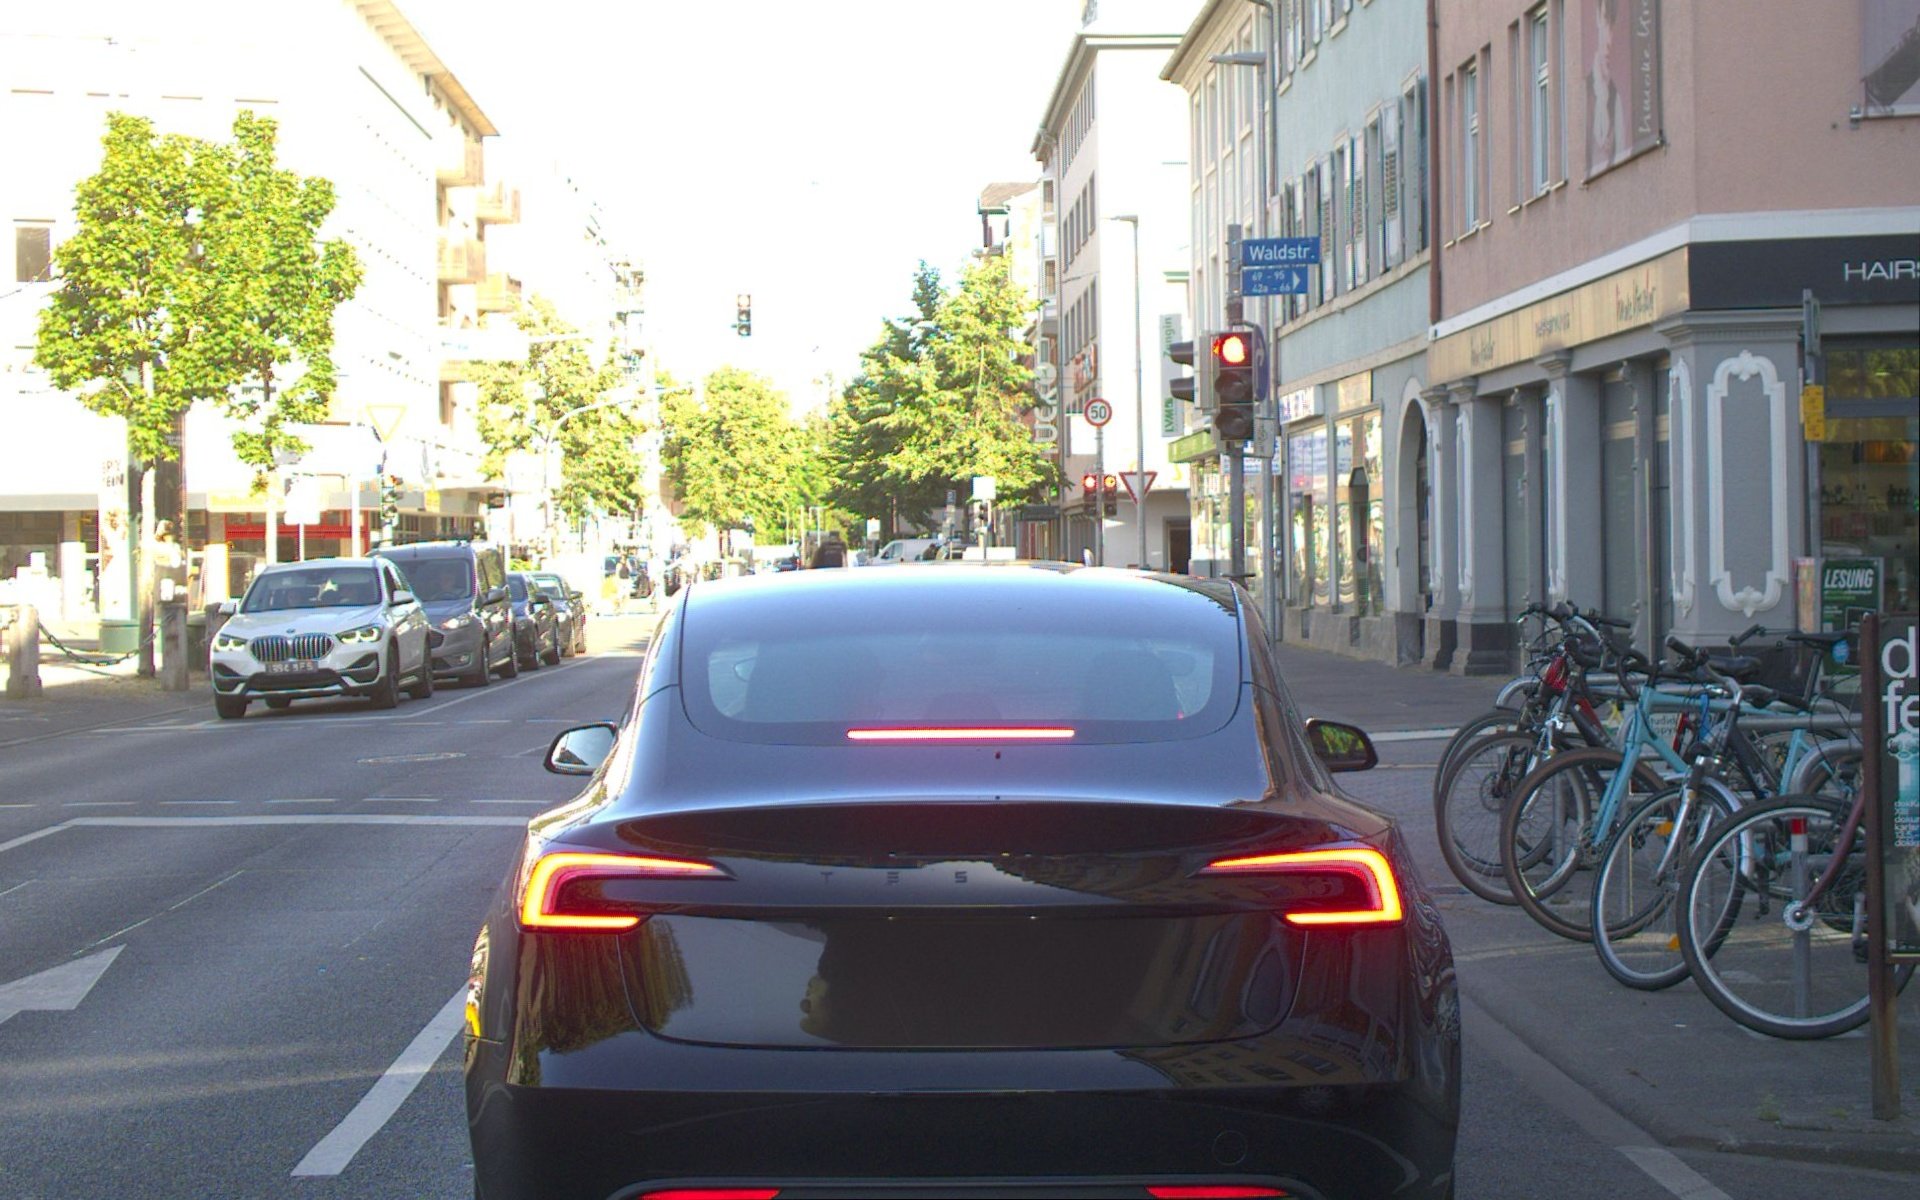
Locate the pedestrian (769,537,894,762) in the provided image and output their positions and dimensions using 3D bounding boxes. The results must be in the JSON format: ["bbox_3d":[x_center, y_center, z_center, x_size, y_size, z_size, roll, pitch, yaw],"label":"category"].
[{"bbox_3d":[-0.902,0.333,24.025,0.747,1.547,0.699,0,1,-14],"label":"pedestrian"}]

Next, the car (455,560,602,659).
[{"bbox_3d":[-7.110,0.125,57.040,1.993,1.431,4.675,-4,1,-3],"label":"car"}]

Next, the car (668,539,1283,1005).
[{"bbox_3d":[-0.016,0.522,13.226,1.993,1.507,4.176,0,1,-2],"label":"car"}]

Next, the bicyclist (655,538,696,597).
[{"bbox_3d":[-7.912,-0.906,95.630,1.126,1.623,0.965,0,1,-3],"label":"bicyclist"}]

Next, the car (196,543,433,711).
[{"bbox_3d":[-6.745,0.236,36.337,1.807,1.550,4.310,-4,1,-3],"label":"car"}]

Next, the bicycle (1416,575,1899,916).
[{"bbox_3d":[2.742,0.561,13.665,1.746,1.262,0.781,-2,1,3],"label":"bicycle"}]

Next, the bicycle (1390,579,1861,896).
[{"bbox_3d":[2.812,0.572,14.696,1.862,1.253,0.832,-2,1,5],"label":"bicycle"}]

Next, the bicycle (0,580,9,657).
[{"bbox_3d":[-15.711,0.285,52.247,2.323,1.152,0.843,0,1,-5],"label":"bicycle"}]

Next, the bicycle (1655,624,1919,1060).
[{"bbox_3d":[3.034,0.673,10.004,1.886,1.189,0.691,-2,1,5],"label":"bicycle"}]

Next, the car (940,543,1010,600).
[{"bbox_3d":[0.428,-0.842,100.832,1.993,1.623,4.000,0,1,0],"label":"car"}]

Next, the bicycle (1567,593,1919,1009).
[{"bbox_3d":[2.888,0.623,11.135,1.722,1.263,0.790,-2,1,5],"label":"bicycle"}]

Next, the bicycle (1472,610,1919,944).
[{"bbox_3d":[2.808,0.626,12.487,1.798,1.120,0.781,-2,1,5],"label":"bicycle"}]

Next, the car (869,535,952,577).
[{"bbox_3d":[-2.422,-2.144,167.570,3.986,2.007,2.000,0,1,-2],"label":"car"}]

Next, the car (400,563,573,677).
[{"bbox_3d":[-6.745,0.243,49.449,1.993,1.405,4.675,-4,1,-3],"label":"car"}]

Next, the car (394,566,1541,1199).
[{"bbox_3d":[-0.008,0.657,7.553,1.848,1.450,4.000,0,1,-1],"label":"car"}]

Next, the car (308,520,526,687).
[{"bbox_3d":[-6.658,-0.004,42.621,1.834,1.838,4.674,-4,1,0],"label":"car"}]

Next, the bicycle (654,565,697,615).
[{"bbox_3d":[-7.894,-0.291,95.547,1.111,1.340,4.001,0,1,-3],"label":"bicycle"}]

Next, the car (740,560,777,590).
[{"bbox_3d":[-10.944,-1.363,187.091,1.993,1.631,4.001,0,1,-3],"label":"car"}]
